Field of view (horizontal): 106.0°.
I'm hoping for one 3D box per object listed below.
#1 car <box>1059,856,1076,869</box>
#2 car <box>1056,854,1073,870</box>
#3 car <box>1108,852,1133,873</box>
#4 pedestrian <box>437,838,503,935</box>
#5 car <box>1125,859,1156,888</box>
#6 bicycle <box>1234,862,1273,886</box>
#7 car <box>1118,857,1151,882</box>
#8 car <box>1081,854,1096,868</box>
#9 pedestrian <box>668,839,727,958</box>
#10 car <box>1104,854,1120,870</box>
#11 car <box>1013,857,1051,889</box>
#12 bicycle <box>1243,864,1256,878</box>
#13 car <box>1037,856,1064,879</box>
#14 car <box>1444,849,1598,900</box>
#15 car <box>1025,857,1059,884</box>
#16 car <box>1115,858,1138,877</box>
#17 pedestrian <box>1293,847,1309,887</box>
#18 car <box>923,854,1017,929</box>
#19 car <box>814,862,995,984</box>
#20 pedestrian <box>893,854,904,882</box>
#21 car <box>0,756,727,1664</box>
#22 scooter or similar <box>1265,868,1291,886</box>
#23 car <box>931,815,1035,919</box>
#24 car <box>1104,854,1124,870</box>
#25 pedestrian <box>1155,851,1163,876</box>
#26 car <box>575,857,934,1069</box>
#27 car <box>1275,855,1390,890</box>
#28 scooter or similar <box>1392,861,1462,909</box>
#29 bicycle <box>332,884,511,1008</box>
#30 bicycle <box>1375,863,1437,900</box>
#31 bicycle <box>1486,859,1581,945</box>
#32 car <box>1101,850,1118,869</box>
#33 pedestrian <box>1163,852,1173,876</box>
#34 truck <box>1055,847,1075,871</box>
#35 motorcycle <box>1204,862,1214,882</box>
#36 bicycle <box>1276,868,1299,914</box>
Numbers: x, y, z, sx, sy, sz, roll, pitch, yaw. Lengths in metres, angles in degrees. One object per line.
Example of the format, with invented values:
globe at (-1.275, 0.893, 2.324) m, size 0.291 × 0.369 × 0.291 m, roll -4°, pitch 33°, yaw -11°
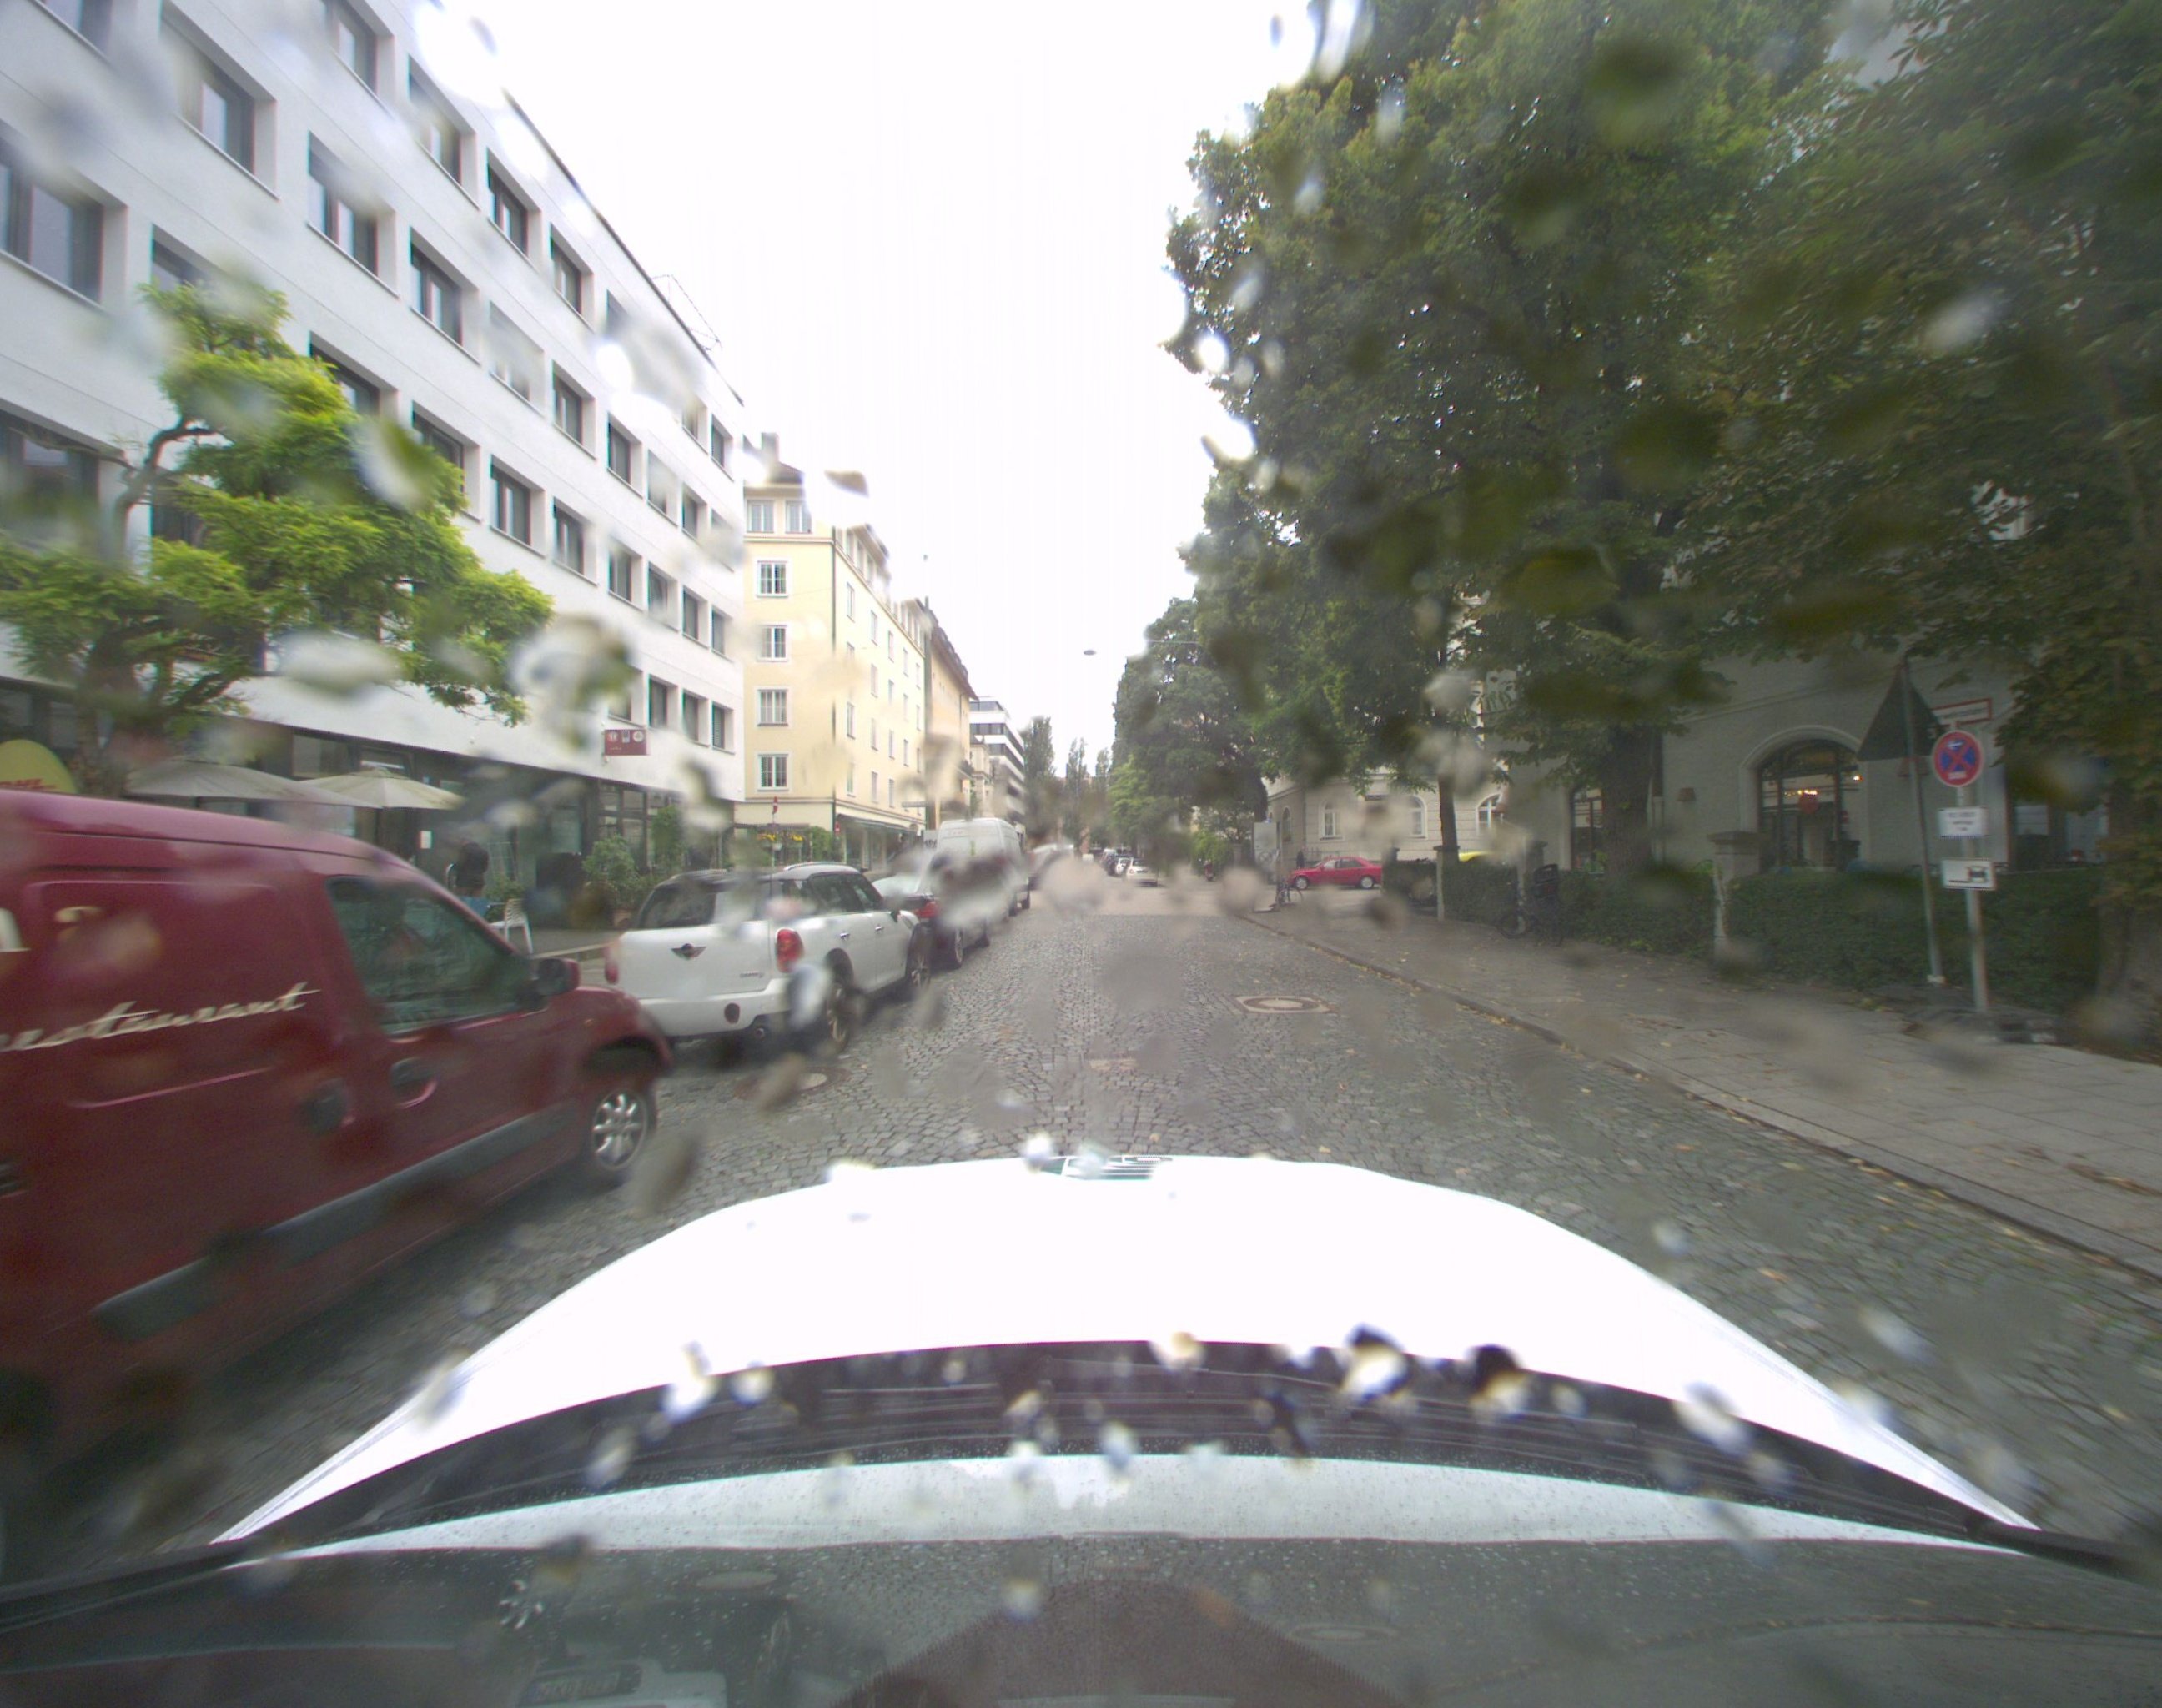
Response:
car at (-1.584, 1.013, 96.173) m, size 1.934 × 1.459 × 4.056 m, roll 0°, pitch -1°, yaw -1°
car at (-1.789, 0.923, 90.613) m, size 1.768 × 1.718 × 4.389 m, roll 0°, pitch -1°, yaw -1°
car at (3.332, 0.747, 69.565) m, size 1.869 × 1.673 × 5.490 m, roll 0°, pitch -1°, yaw 0°
pedestrian at (-10.878, 0.560, 14.526) m, size 0.553 × 1.660 × 0.784 m, roll 1°, pitch 1°, yaw 3°
car at (3.180, 1.032, 43.929) m, size 1.496 × 1.471 × 3.796 m, roll 1°, pitch -1°, yaw 1°
bicycle at (8.540, 0.976, 40.283) m, size 1.825 × 1.124 × 0.564 m, roll -1°, pitch 0°, yaw 13°
car at (3.339, 0.959, 51.216) m, size 1.643 × 1.422 × 4.630 m, roll 3°, pitch -1°, yaw -1°
car at (1.114, 1.003, 119.725) m, size 1.989 × 1.936 × 4.001 m, roll -1°, pitch -1°, yaw 2°
pedestrian at (-6.148, 0.695, 13.100) m, size 0.613 × 1.840 × 0.812 m, roll -1°, pitch -1°, yaw -6°
car at (3.865, 1.013, 103.283) m, size 1.794 × 1.949 × 4.859 m, roll 2°, pitch -1°, yaw 0°
car at (-2.594, 0.998, 43.894) m, size 1.847 × 1.586 × 4.745 m, roll 0°, pitch -1°, yaw -1°
bicycle at (10.418, 1.041, 50.293) m, size 0.489 × 0.812 × 2.276 m, roll 0°, pitch -1°, yaw 5°
car at (-2.208, 0.971, 60.263) m, size 1.767 × 1.647 × 4.392 m, roll 0°, pitch -1°, yaw 1°
car at (14.306, 0.662, 26.708) m, size 4.048 × 1.597 × 1.911 m, roll -1°, pitch -1°, yaw 11°
car at (-2.296, 0.951, 48.780) m, size 1.768 × 1.536 × 4.540 m, roll -1°, pitch 0°, yaw 0°
car at (3.569, 1.055, 64.342) m, size 1.625 × 1.469 × 3.658 m, roll 1°, pitch -1°, yaw 0°
pedestrian at (10.248, 0.601, 37.903) m, size 0.492 × 1.876 × 0.741 m, roll 0°, pitch -1°, yaw -4°
car at (-2.364, 0.764, 18.178) m, size 1.657 × 1.482 × 3.979 m, roll 0°, pitch -1°, yaw -2°
car at (-2.538, 0.922, 12.854) m, size 1.719 × 1.464 × 4.474 m, roll -3°, pitch 0°, yaw 1°
pedestrian at (-10.775, 0.840, 48.142) m, size 0.520 × 1.642 × 0.629 m, roll 0°, pitch -1°, yaw 0°
car at (-2.917, 0.712, 2.693) m, size 1.712 × 1.723 × 3.898 m, roll -2°, pitch -1°, yaw 0°
scooter or similar at (9.485, 1.102, 39.236) m, size 1.176 × 0.848 × 0.927 m, roll -1°, pitch -1°, yaw 10°
car at (-2.671, 0.352, 23.707) m, size 1.969 × 2.574 × 5.797 m, roll -3°, pitch -1°, yaw 2°
car at (3.616, 0.875, 90.396) m, size 1.957 × 1.759 × 4.952 m, roll 0°, pitch -1°, yaw 0°
pedestrian at (5.836, 0.683, 60.890) m, size 0.573 × 1.850 × 0.682 m, roll -1°, pitch -1°, yaw 3°
car at (-2.676, 0.800, 7.701) m, size 1.686 × 1.504 × 3.780 m, roll 0°, pitch -1°, yaw 3°
car at (10.600, 0.767, 34.598) m, size 4.442 × 1.358 × 1.764 m, roll -1°, pitch 0°, yaw 7°
scooter or similar at (8.775, 0.797, 20.690) m, size 1.588 × 1.172 × 0.407 m, roll -2°, pitch -1°, yaw 23°
bicycle at (-7.224, 0.952, 9.052) m, size 0.359 × 1.175 × 1.912 m, roll 0°, pitch -1°, yaw 3°
bicycle at (10.065, 0.857, 25.259) m, size 1.594 × 1.069 × 0.739 m, roll -3°, pitch -4°, yaw 3°
bicycle at (6.977, 0.707, 12.639) m, size 0.426 × 1.198 × 1.731 m, roll -6°, pitch -1°, yaw 1°
car at (3.791, 0.695, 108.685) m, size 1.889 × 2.426 × 5.609 m, roll 3°, pitch 0°, yaw 0°
pedestrian at (6.522, 0.772, 61.291) m, size 0.626 × 1.808 × 0.659 m, roll 0°, pitch -1°, yaw -3°
truck at (-2.113, 0.656, 107.495) m, size 2.501 × 3.031 × 6.382 m, roll -3°, pitch 0°, yaw -1°
motorcycle at (7.008, 0.974, 44.569) m, size 0.361 × 1.090 × 1.404 m, roll 0°, pitch -1°, yaw 3°
bicycle at (5.384, 0.940, 21.266) m, size 0.386 × 1.147 × 1.592 m, roll -1°, pitch -1°, yaw 7°
